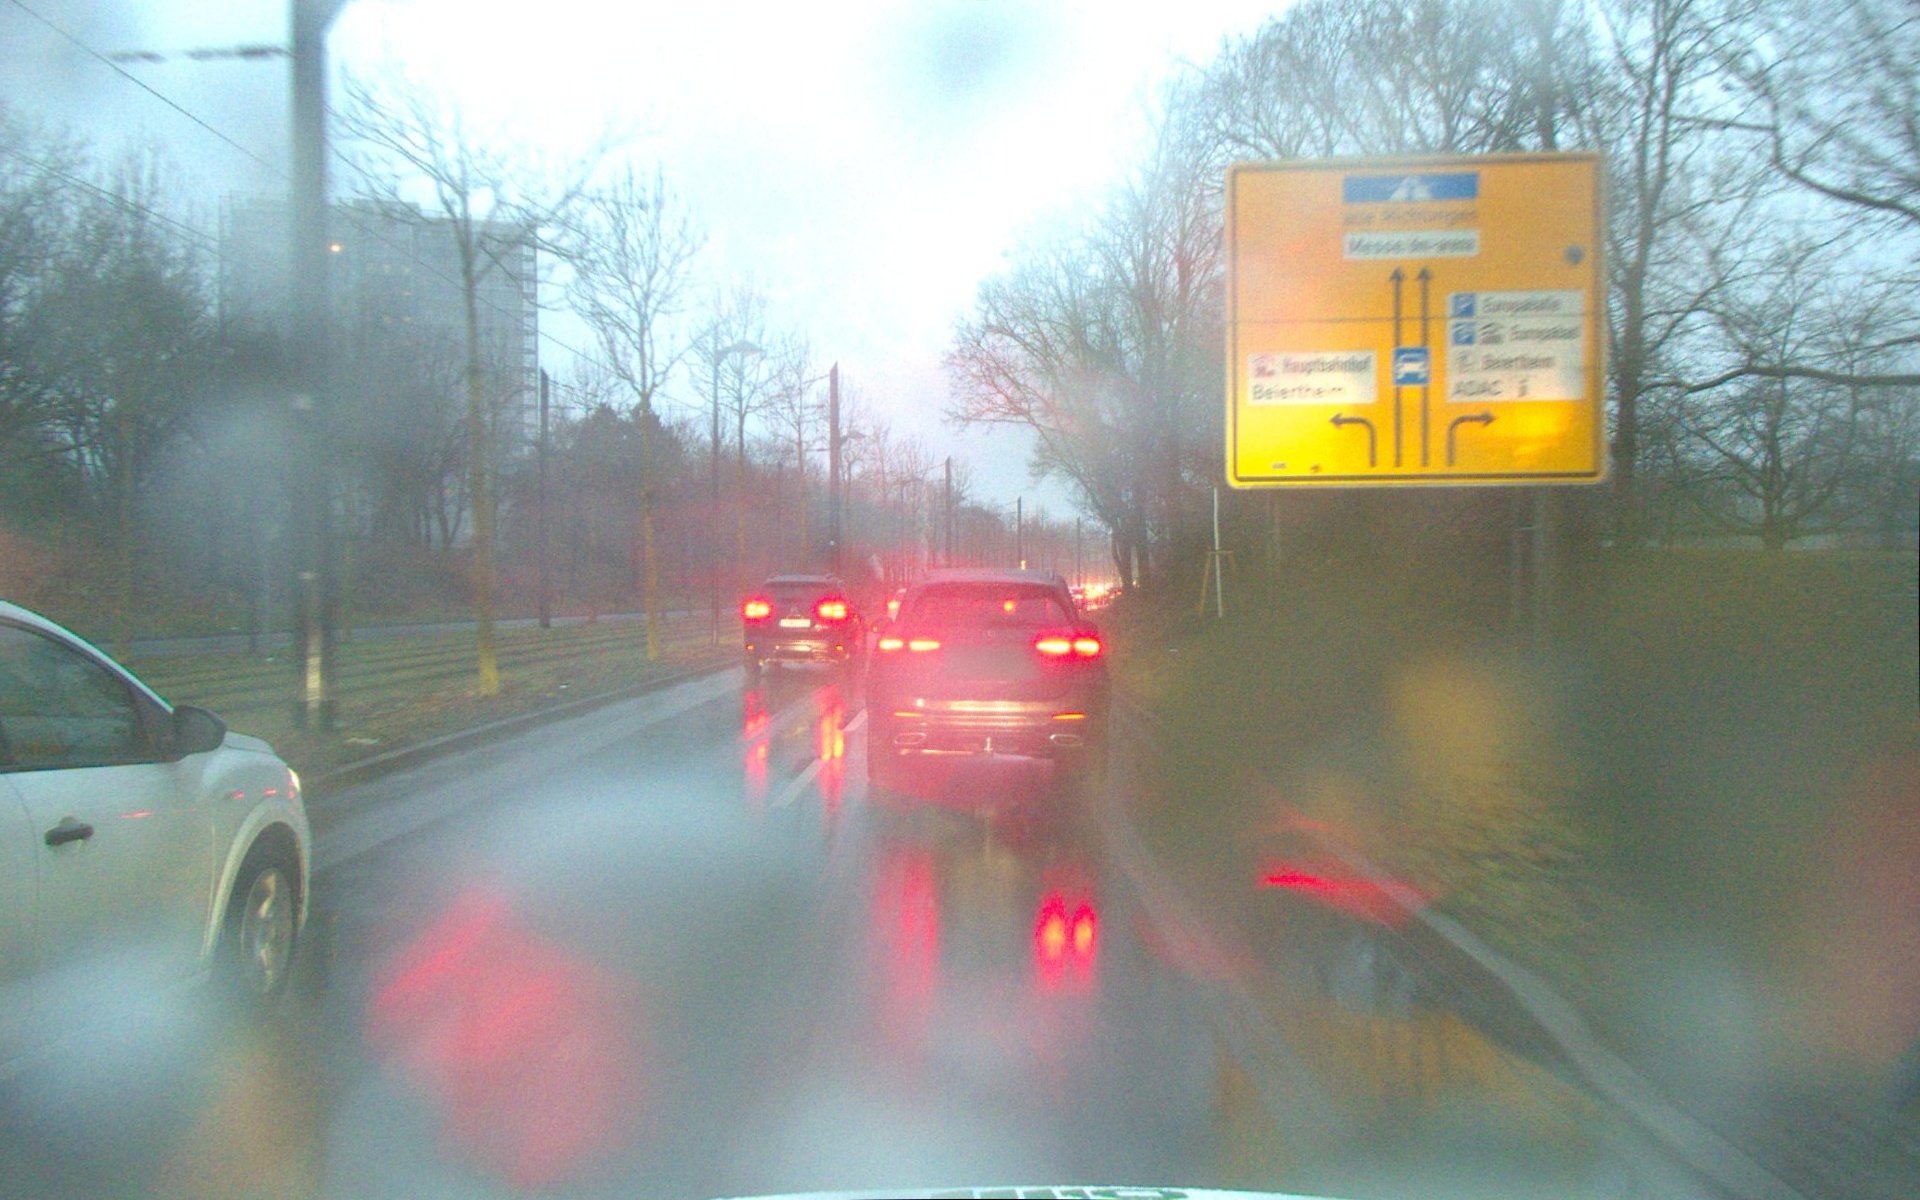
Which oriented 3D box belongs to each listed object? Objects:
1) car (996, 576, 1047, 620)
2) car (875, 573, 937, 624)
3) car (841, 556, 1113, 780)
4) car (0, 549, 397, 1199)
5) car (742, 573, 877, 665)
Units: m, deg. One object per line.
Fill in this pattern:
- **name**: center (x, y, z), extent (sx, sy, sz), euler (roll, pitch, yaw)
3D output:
- **car**: center (2.381, -0.090, 63.136), extent (1.672, 1.585, 3.999), euler (0, 0, 6)
- **car**: center (-1.758, -0.073, 54.912), extent (1.841, 1.621, 4.001), euler (-1, 1, 1)
- **car**: center (0.117, 0.460, 13.942), extent (1.957, 1.611, 4.000), euler (0, 1, 0)
- **car**: center (-3.052, 0.658, 4.313), extent (1.673, 1.551, 4.135), euler (0, 0, 1)
- **car**: center (-2.556, 0.281, 29.018), extent (1.841, 1.484, 4.002), euler (-1, 1, 2)
